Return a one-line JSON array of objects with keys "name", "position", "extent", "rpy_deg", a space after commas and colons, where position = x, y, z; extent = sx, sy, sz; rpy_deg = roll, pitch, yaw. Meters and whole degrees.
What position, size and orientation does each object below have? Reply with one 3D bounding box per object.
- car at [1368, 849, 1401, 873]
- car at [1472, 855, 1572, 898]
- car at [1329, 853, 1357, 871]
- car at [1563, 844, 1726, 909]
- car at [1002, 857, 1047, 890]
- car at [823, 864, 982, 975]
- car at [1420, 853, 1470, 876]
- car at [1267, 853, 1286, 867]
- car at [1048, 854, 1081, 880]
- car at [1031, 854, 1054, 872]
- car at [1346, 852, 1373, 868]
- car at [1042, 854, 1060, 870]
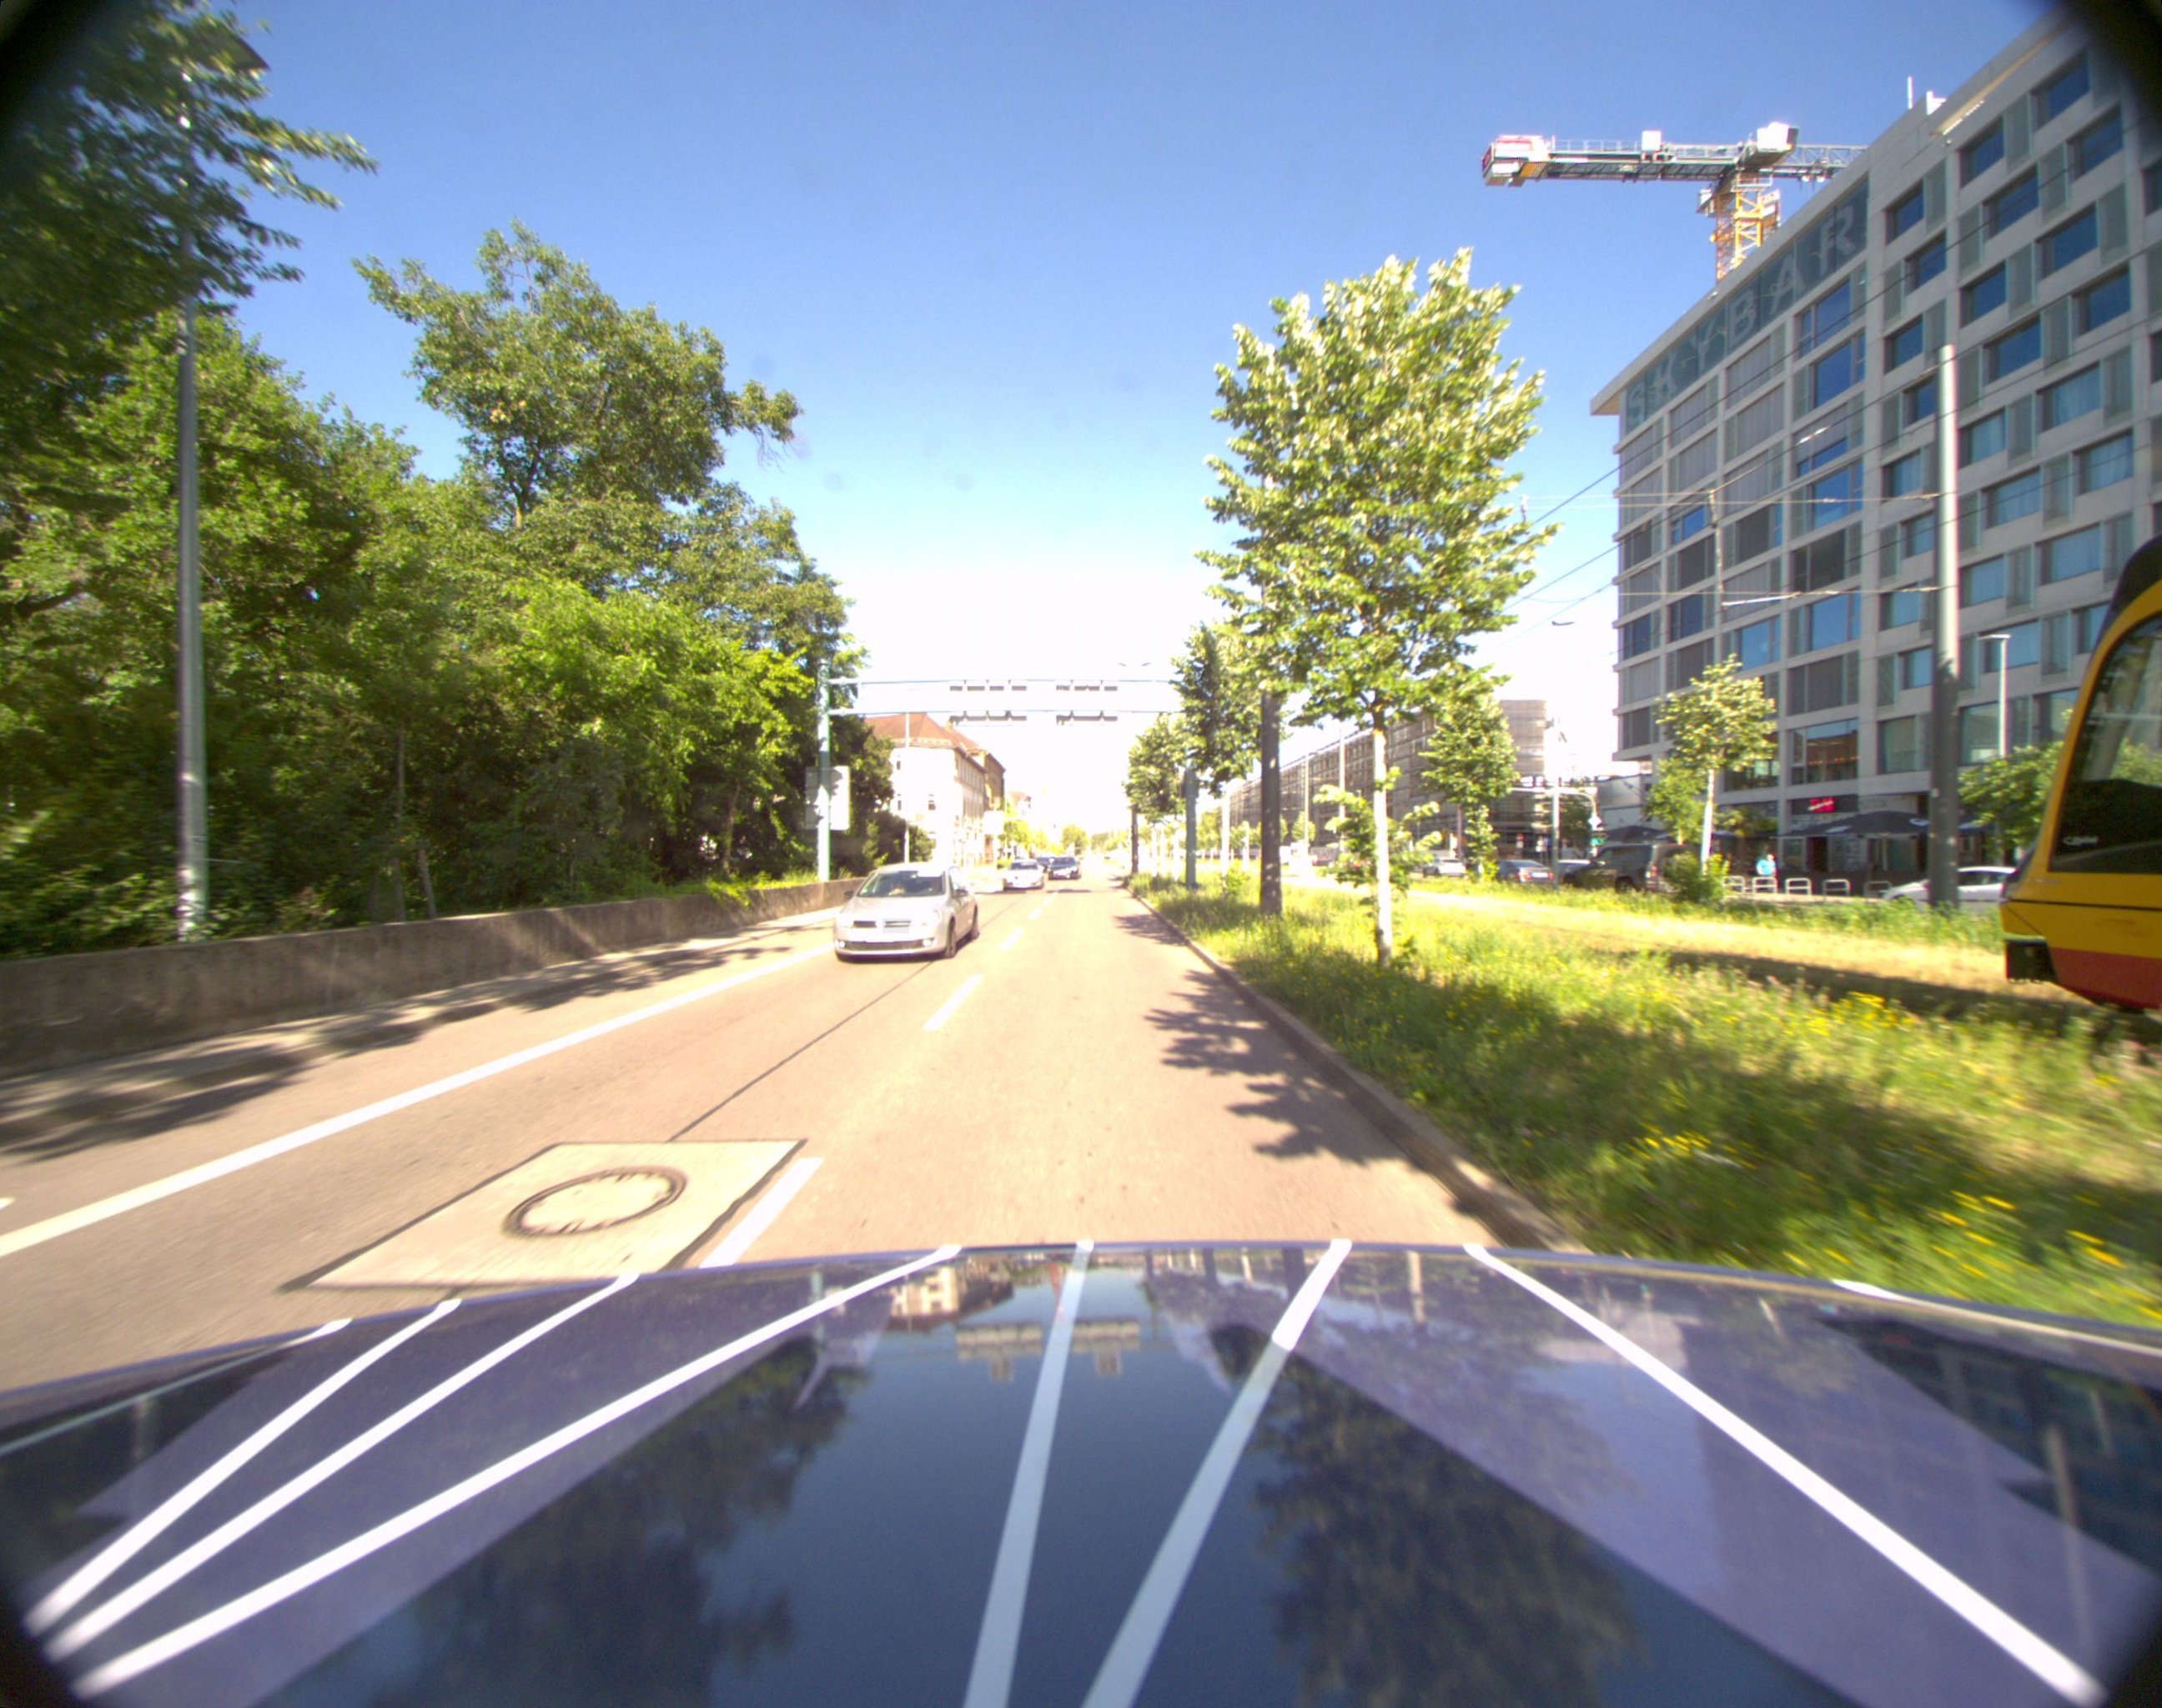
[{"name": "car", "position": [22.636, 0.485, 56.794], "extent": [1.775, 1.664, 3.893], "rpy_deg": [-1, 1, 15]}, {"name": "car", "position": [17.718, 0.853, 30.759], "extent": [1.729, 1.543, 4.000], "rpy_deg": [-1, 0, 1]}, {"name": "car", "position": [25.548, 0.757, 74.147], "extent": [1.888, 1.565, 4.002], "rpy_deg": [-1, 0, 9]}, {"name": "car", "position": [17.383, 0.629, 23.740], "extent": [1.998, 1.808, 4.285], "rpy_deg": [-1, 0, 2]}, {"name": "car", "position": [-2.656, 0.882, 36.377], "extent": [1.839, 1.415, 3.999], "rpy_deg": [-1, 0, 0]}, {"name": "car", "position": [-2.793, 0.955, 12.801], "extent": [1.703, 1.466, 3.999], "rpy_deg": [-1, 0, 0]}, {"name": "car", "position": [25.165, 0.698, 52.650], "extent": [1.742, 1.537, 4.001], "rpy_deg": [-1, 0, 4]}, {"name": "car", "position": [28.588, 0.878, 111.105], "extent": [1.998, 2.002, 4.001], "rpy_deg": [-1, 1, 5]}, {"name": "car", "position": [-1.061, 0.794, 48.067], "extent": [1.999, 1.493, 3.999], "rpy_deg": [0, 0, -2]}, {"name": "car", "position": [-3.309, 0.762, 65.564], "extent": [1.703, 1.415, 3.999], "rpy_deg": [-1, 0, 0]}, {"name": "car", "position": [29.343, 0.637, 80.163], "extent": [1.888, 1.565, 4.002], "rpy_deg": [-1, 0, 9]}, {"name": "car", "position": [-3.202, 0.862, 81.518], "extent": [1.703, 1.622, 3.999], "rpy_deg": [-1, 0, 0]}]
